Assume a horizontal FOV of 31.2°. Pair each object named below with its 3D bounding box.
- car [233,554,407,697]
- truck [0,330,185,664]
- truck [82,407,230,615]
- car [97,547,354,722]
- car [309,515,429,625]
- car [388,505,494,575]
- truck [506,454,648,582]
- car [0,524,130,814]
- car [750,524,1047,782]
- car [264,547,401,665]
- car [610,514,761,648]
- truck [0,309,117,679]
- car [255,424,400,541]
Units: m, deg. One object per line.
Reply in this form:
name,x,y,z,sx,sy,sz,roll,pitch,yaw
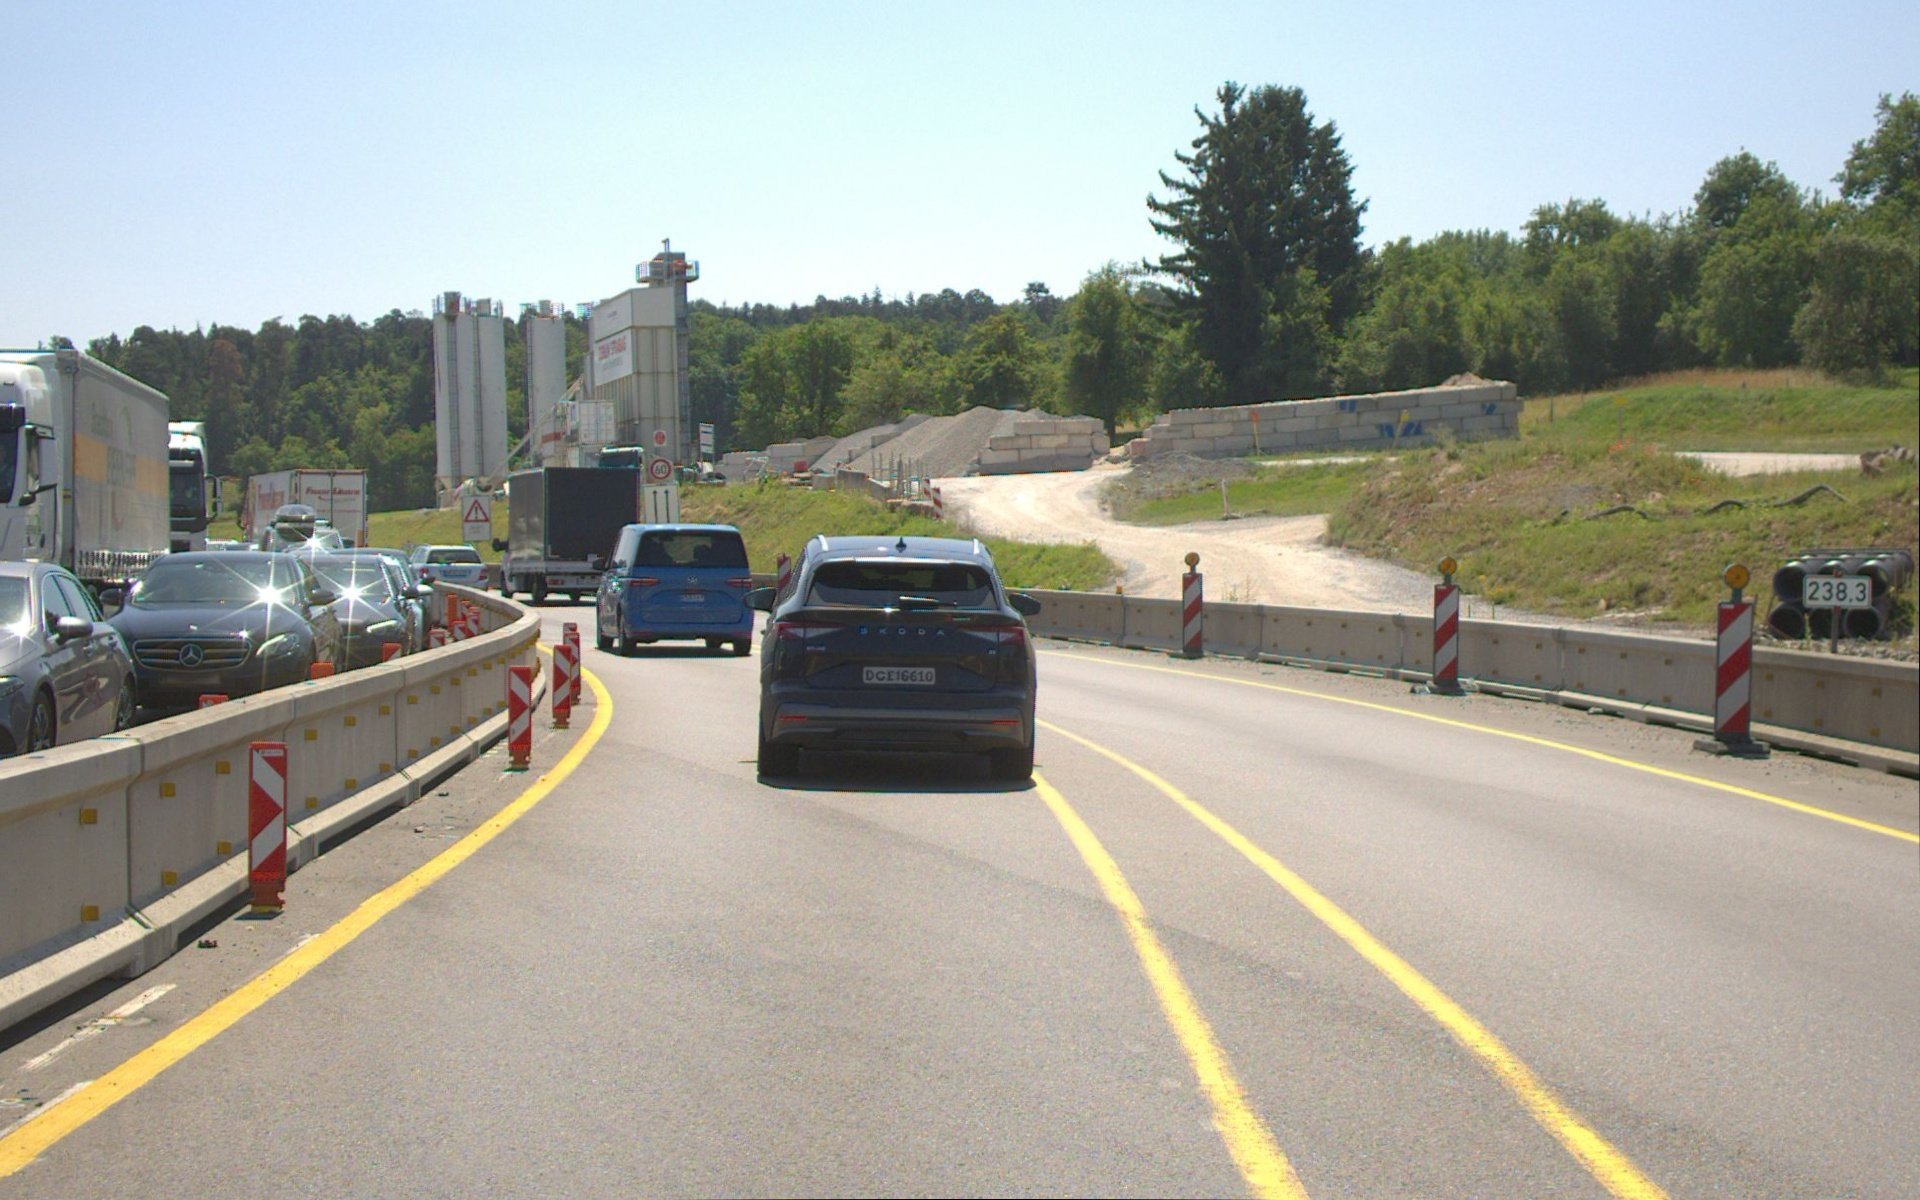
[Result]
car,-7.039,0.238,38.134,1.655,1.448,4.249,0,1,-7
truck,-13.196,-1.468,49.768,2.773,4.263,11.783,-1,2,-8
truck,-16.220,-1.800,69.132,2.699,3.955,6.201,-1,2,-14
car,-6.396,0.251,30.307,1.725,1.403,4.130,0,1,-5
car,-8.850,-0.478,51.398,1.677,1.539,4.119,1,2,-10
car,-12.442,-1.461,82.204,2.045,1.521,5.068,-2,2,-13
truck,-9.397,-1.978,83.950,2.672,2.935,5.622,-2,1,-13
car,-6.258,0.341,21.319,1.509,1.598,3.954,1,2,-4
car,-0.441,0.291,23.708,1.842,1.576,4.001,1,2,-2
car,-8.263,0.043,45.237,1.677,1.439,4.555,0,1,-11
car,-4.060,-0.325,50.329,1.993,1.837,4.001,-1,2,-8
truck,-12.257,-1.287,42.541,2.770,4.245,6.201,-1,2,-7
car,-23.623,-4.368,127.995,3.435,4.087,9.200,2,1,-22
